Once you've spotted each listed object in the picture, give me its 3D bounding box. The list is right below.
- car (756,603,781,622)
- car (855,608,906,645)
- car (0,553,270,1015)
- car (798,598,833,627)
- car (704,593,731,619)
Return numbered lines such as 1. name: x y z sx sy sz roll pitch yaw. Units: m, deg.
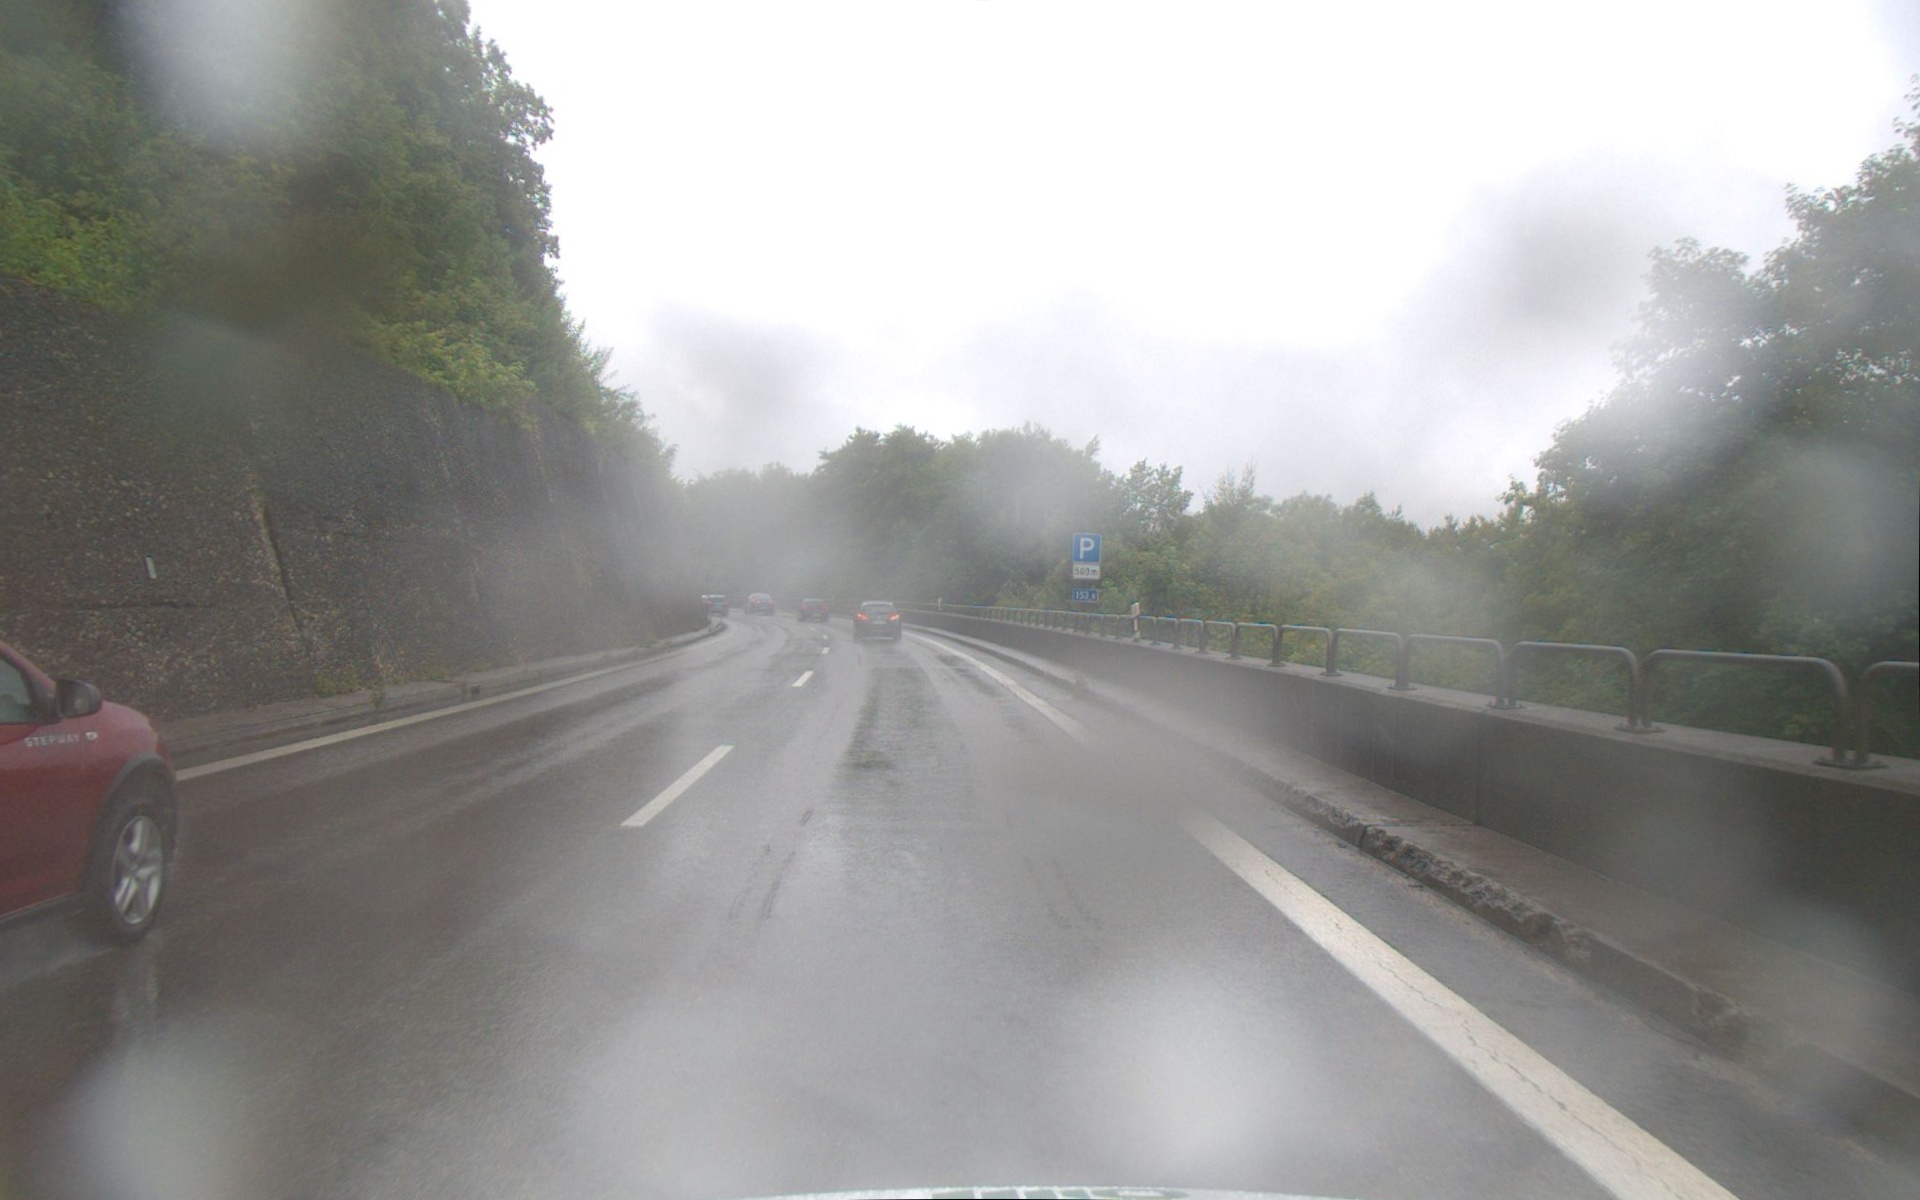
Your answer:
1. car: -15.598 1.020 134.831 1.768 1.492 3.990 0 0 -10
2. car: -3.039 0.983 62.348 1.765 1.330 3.996 0 0 -5
3. car: -4.254 0.623 5.758 1.952 1.579 4.001 0 0 1
4. car: -9.281 0.789 106.213 1.957 1.780 3.991 1 -1 -9
5. car: -19.094 0.488 130.307 1.957 1.937 3.990 1 -1 -10
